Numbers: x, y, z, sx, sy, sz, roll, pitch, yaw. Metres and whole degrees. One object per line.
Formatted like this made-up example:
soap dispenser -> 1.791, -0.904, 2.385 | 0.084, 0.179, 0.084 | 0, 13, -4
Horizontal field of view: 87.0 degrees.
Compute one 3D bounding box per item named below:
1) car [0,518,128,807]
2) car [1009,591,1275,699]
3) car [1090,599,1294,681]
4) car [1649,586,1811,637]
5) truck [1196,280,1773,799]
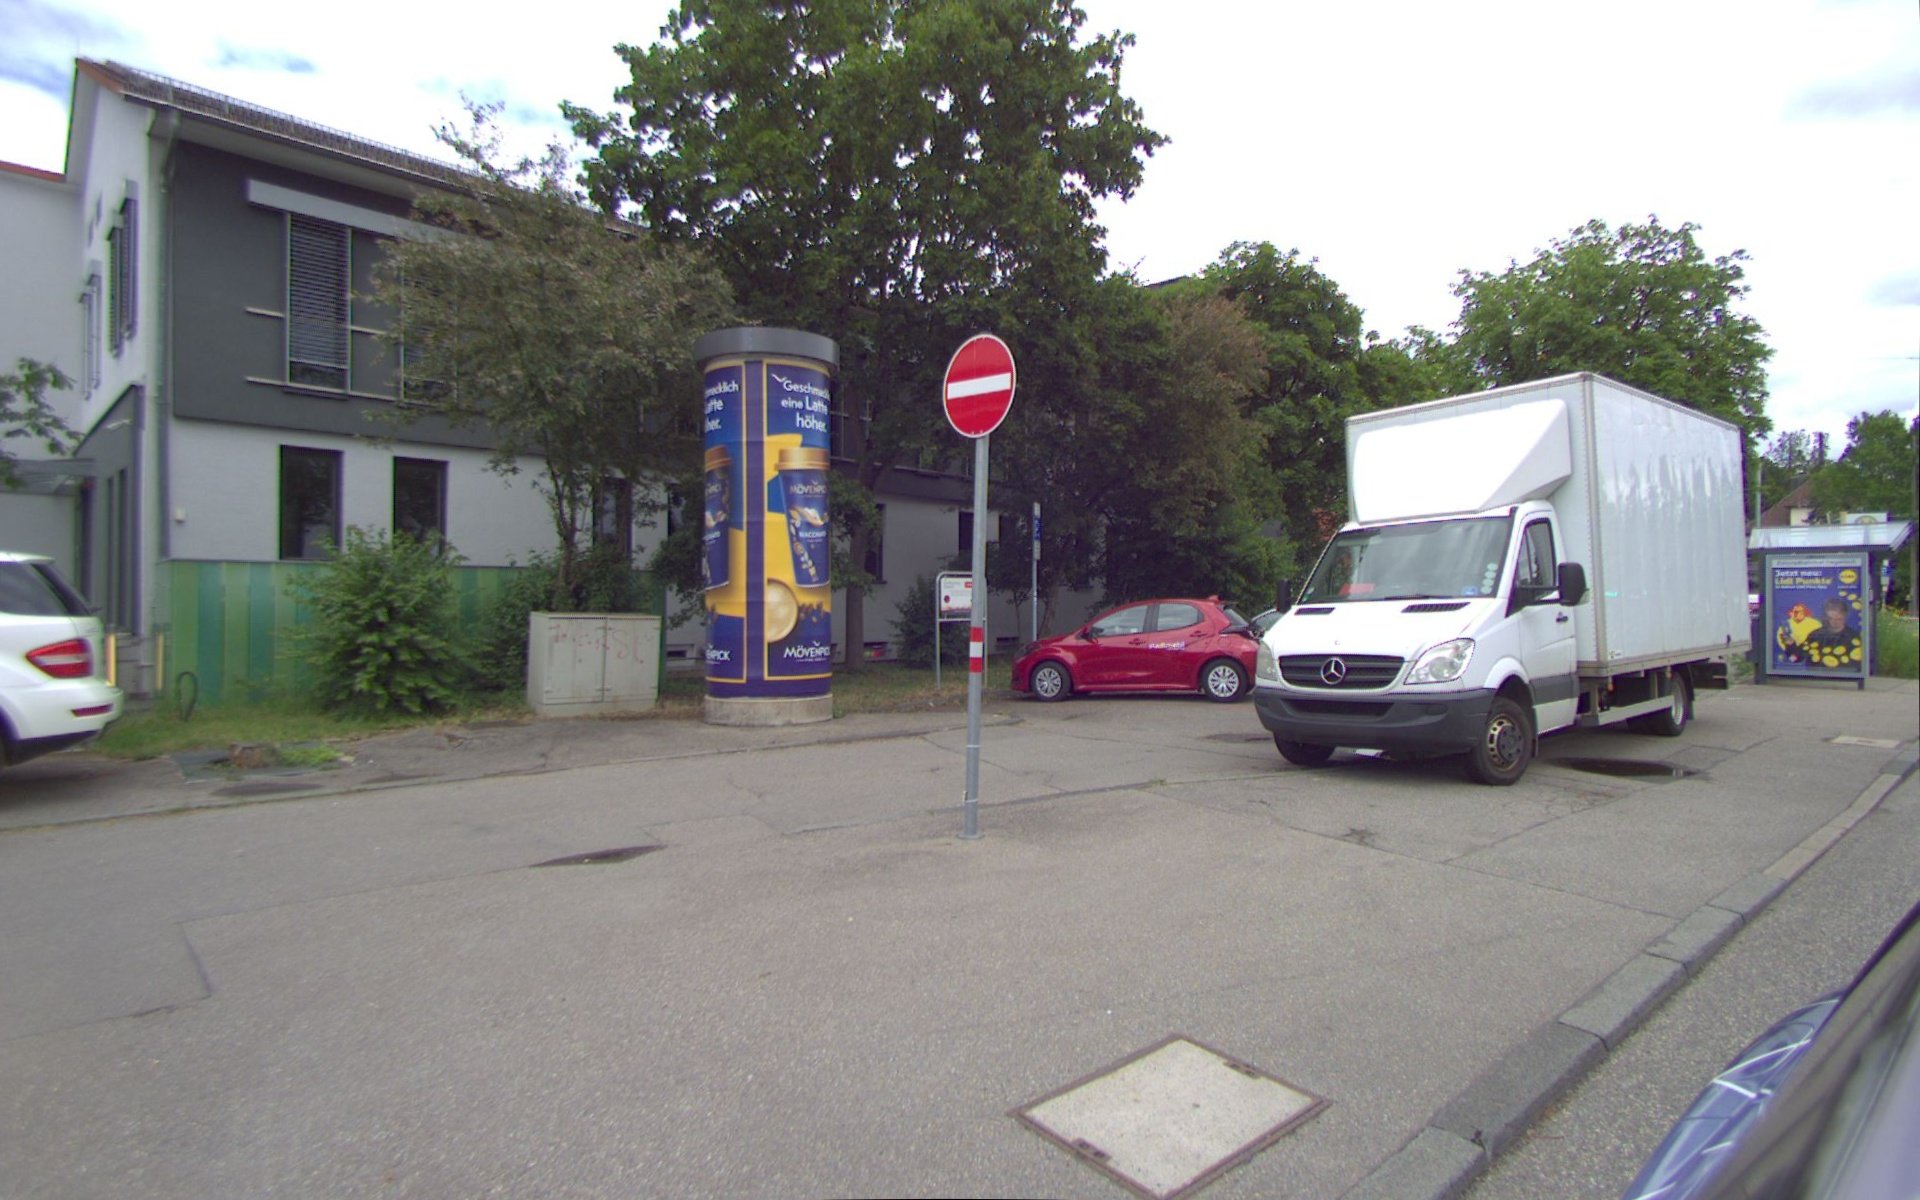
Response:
car -> -8.013, 0.401, 6.202 | 4.440, 1.860, 1.997 | -1, 2, -42
car -> 2.733, 0.643, 15.194 | 3.686, 1.464, 1.595 | -1, -2, 23
car -> 4.566, 0.733, 19.821 | 3.754, 1.492, 1.787 | 0, 0, 19
car -> 28.141, 0.415, 37.073 | 4.602, 1.771, 1.853 | 1, 0, -3
truck -> 5.829, -0.428, 10.440 | 7.671, 3.570, 2.578 | 0, 0, -40
